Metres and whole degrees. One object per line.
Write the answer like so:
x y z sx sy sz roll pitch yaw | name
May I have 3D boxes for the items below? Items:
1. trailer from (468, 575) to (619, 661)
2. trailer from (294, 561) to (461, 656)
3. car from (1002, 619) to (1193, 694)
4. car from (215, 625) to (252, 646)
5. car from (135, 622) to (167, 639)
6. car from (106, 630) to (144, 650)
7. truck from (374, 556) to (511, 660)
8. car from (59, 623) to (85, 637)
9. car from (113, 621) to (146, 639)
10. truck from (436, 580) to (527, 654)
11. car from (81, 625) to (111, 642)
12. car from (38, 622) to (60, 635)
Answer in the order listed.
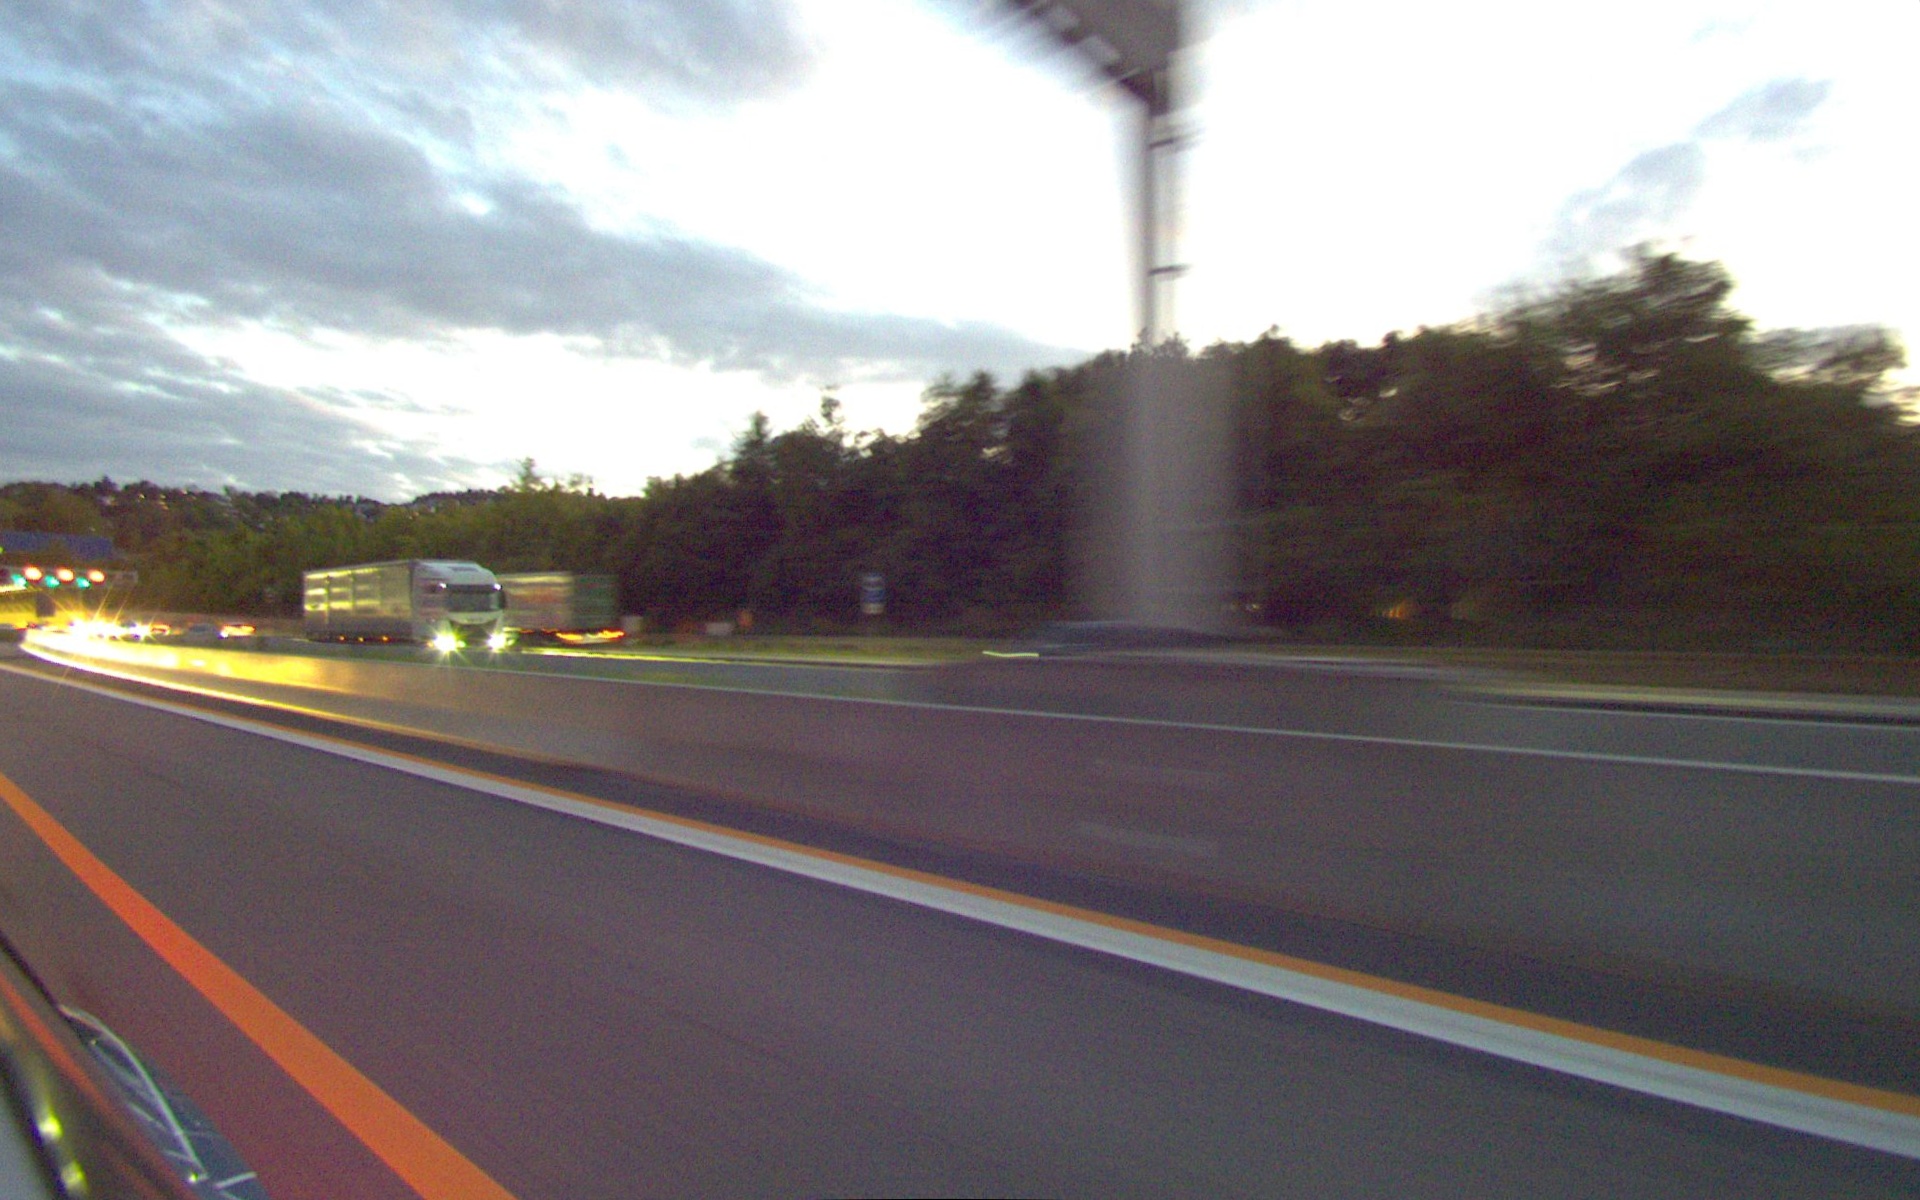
-23.101 0.923 55.514 12.402 4.237 2.748 -1 1 43 | trailer
-26.362 0.367 45.406 11.830 3.811 2.770 -1 1 41 | trailer
3.496 1.391 26.264 4.580 1.686 1.973 -1 1 41 | car
-61.879 2.998 86.198 5.034 1.616 1.574 -1 1 43 | car
-84.863 3.162 106.097 5.168 1.650 1.718 -1 1 41 | car
-68.796 3.265 83.326 3.998 1.492 1.769 -1 1 41 | car
-20.701 0.292 40.352 6.301 3.803 2.773 -1 1 42 | truck
-108.493 3.650 123.681 4.749 1.650 1.785 -1 1 41 | car
-81.234 2.898 98.975 4.889 1.650 1.718 -1 1 41 | car
-28.878 0.991 60.973 6.386 4.202 2.747 -1 1 43 | truck
-79.259 3.055 92.850 3.822 1.492 1.490 -1 1 41 | car
-119.935 3.760 133.240 4.749 1.650 1.661 -1 1 41 | car
